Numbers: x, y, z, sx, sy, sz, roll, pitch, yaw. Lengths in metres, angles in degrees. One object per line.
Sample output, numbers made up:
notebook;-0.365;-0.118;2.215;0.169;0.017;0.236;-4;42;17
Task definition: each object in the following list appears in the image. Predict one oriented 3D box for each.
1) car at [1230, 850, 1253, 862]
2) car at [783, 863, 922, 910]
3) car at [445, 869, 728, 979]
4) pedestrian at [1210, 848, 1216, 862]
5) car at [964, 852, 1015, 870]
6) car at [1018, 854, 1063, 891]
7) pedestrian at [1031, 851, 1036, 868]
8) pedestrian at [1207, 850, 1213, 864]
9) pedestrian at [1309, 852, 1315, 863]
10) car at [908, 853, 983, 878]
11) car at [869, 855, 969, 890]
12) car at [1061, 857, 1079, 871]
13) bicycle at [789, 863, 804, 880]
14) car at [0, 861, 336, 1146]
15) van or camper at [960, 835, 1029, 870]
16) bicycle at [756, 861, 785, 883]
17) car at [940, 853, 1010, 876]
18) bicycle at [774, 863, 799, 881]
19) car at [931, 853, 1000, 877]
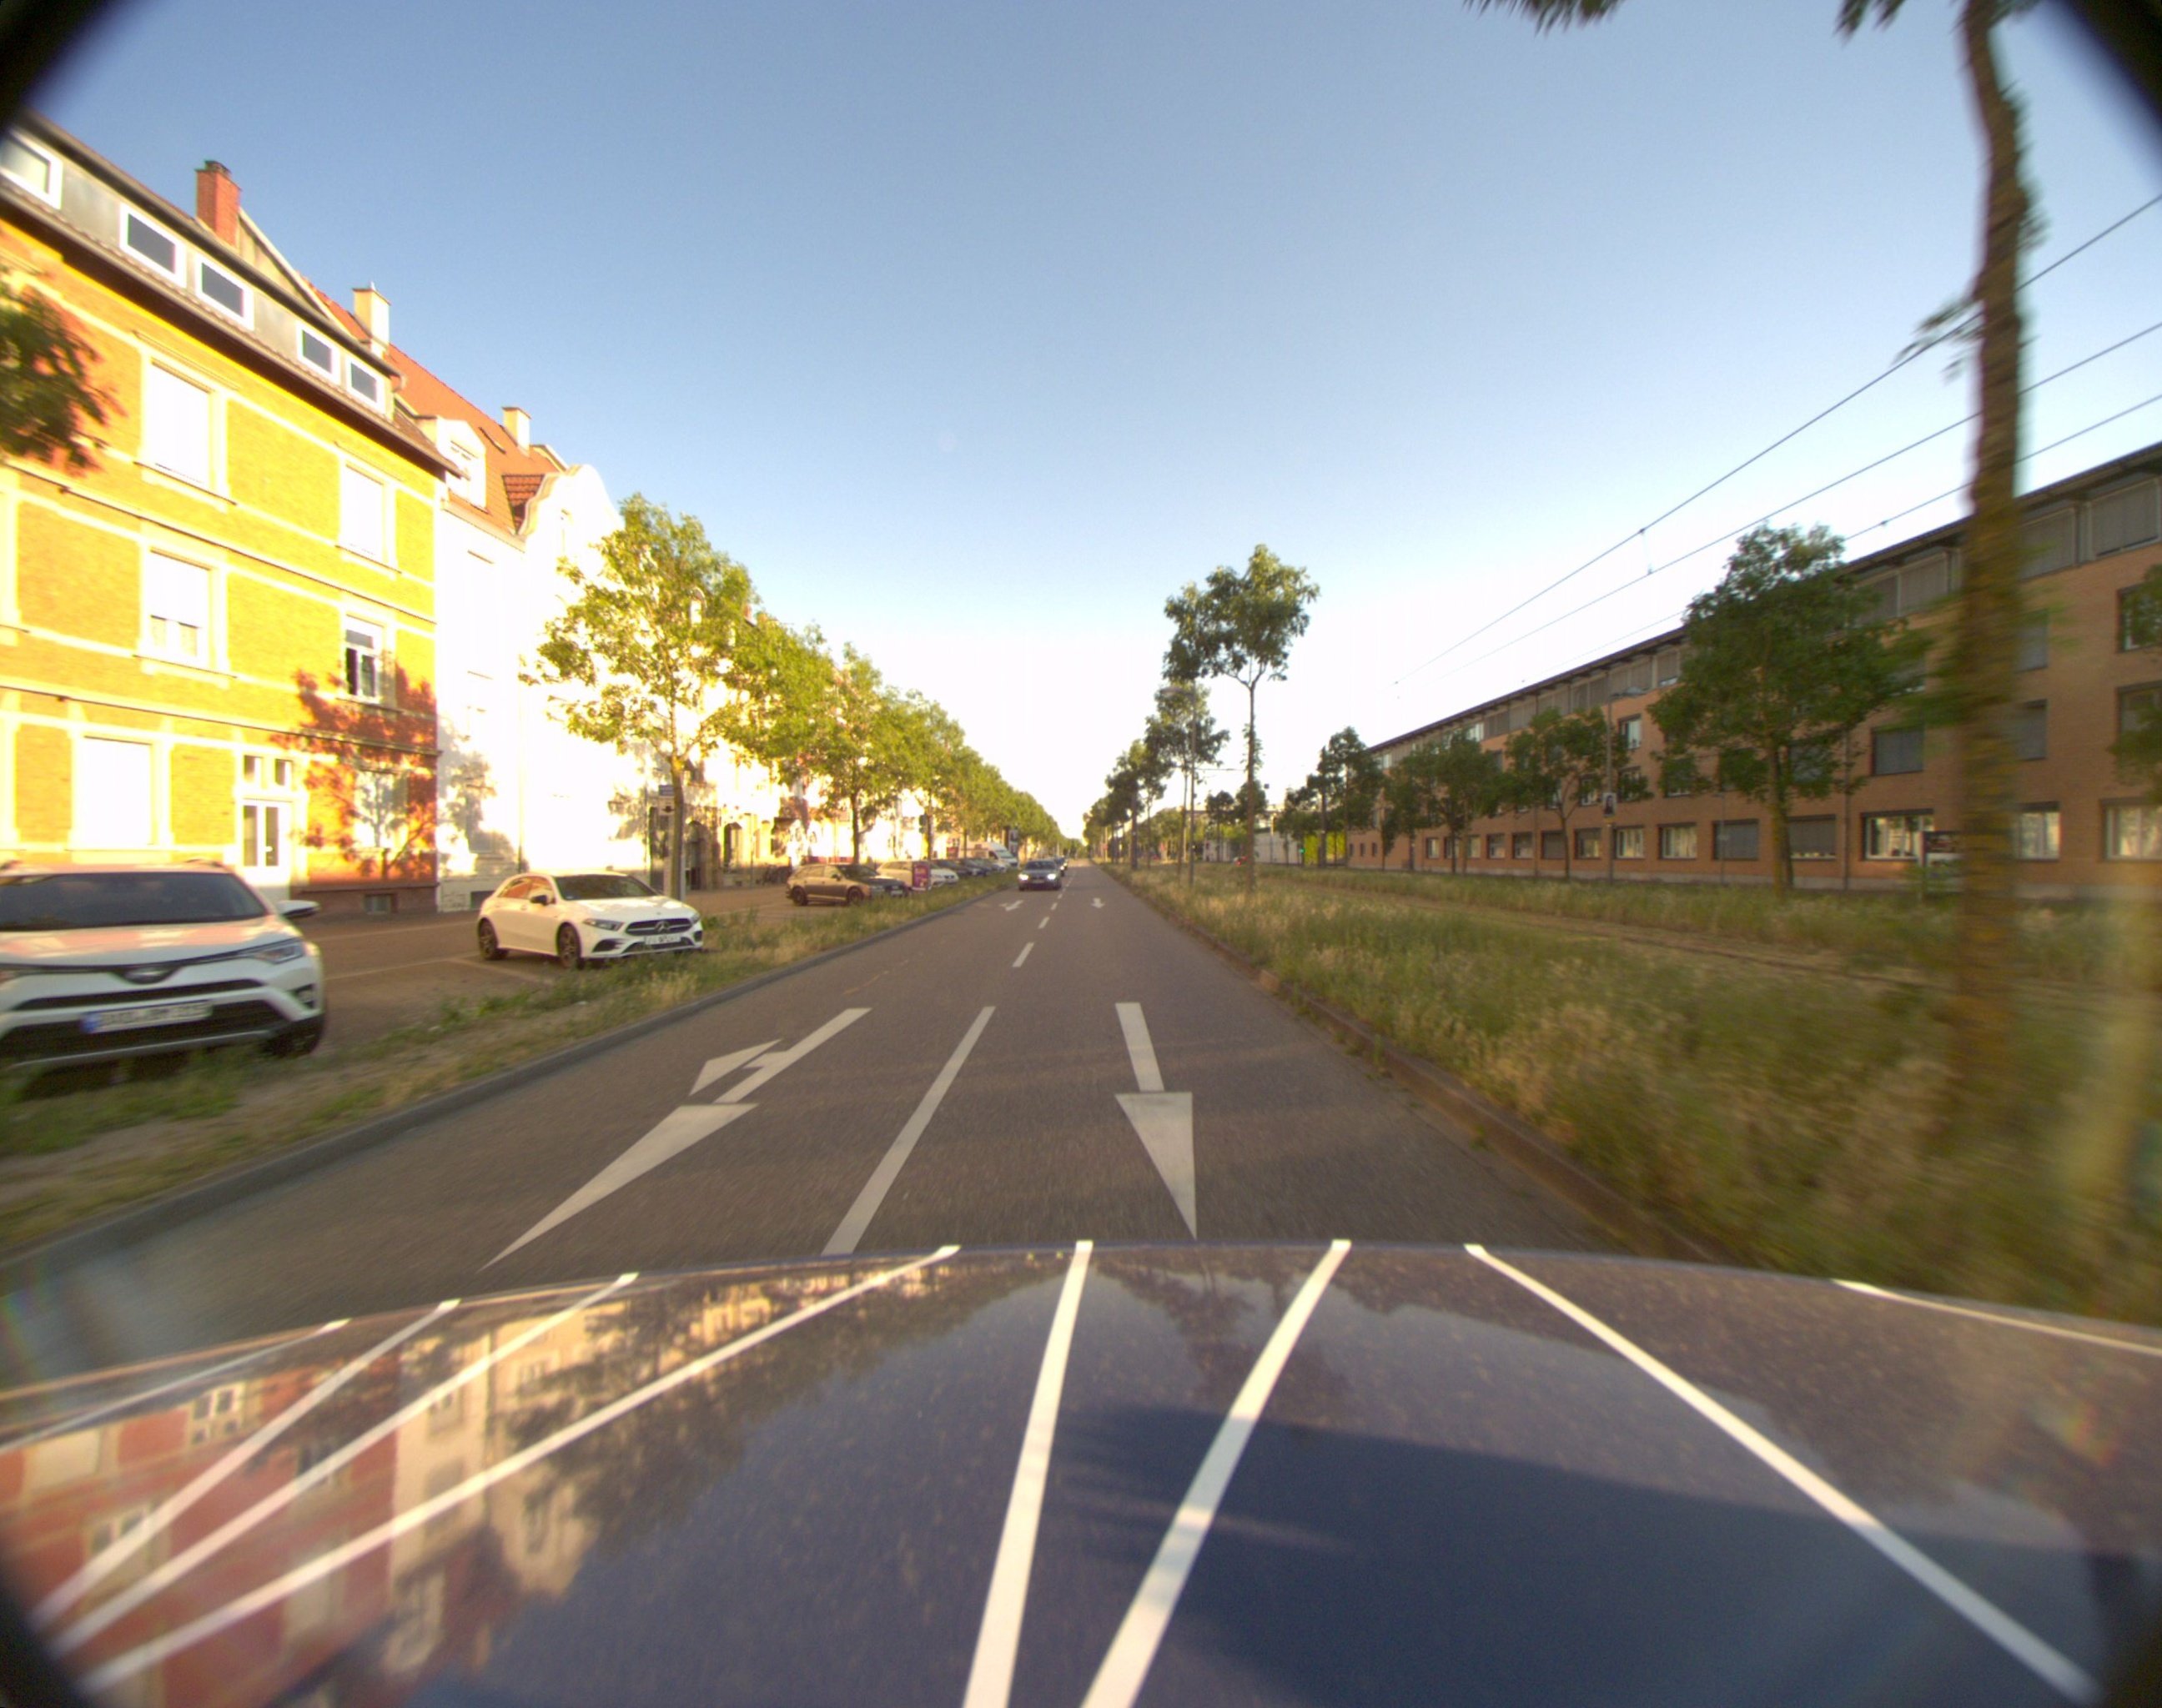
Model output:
car;18.208;0.217;86.475;1.794;1.368;4.000;-1;0;0
car;-7.563;1.010;25.007;4.570;1.340;1.900;0;1;33
car;-8.030;0.983;12.254;4.542;1.392;2.035;0;1;31
pedestrian;15.896;0.153;91.513;0.515;1.675;0.548;-1;1;-32
car;-7.397;0.531;61.160;3.912;1.395;1.799;0;1;39
car;-1.924;0.835;36.503;1.999;1.655;3.999;0;0;-3
pedestrian;-5.741;0.669;91.589;0.514;2.002;0.599;-1;1;0
pedestrian;15.697;0.339;92.374;0.515;1.674;0.549;-1;-1;-30
pedestrian;27.423;0.406;90.213;0.587;1.359;0.575;-1;1;-6
car;-8.163;0.714;45.707;4.424;1.408;1.889;-1;0;37
car;-7.481;0.824;34.962;4.633;1.501;1.851;0;1;36
car;-1.271;1.145;90.284;1.870;1.586;3.952;-1;0;2
bicycle;-16.478;0.999;44.004;0.419;0.956;1.218;0;0;0
car;-7.981;0.929;6.230;4.420;1.681;1.920;-1;0;36
van or camper;-7.379;-0.127;64.489;5.635;2.796;2.208;0;1;32
bicycle;-16.328;0.948;40.027;0.589;1.072;2.228;1;0;0
car;-7.199;0.726;51.396;4.424;1.415;1.926;-1;0;33
bicycle;-16.319;0.985;42.158;0.580;0.985;1.928;0;0;0
car;-7.375;0.706;48.383;4.042;1.429;1.730;-1;1;29
